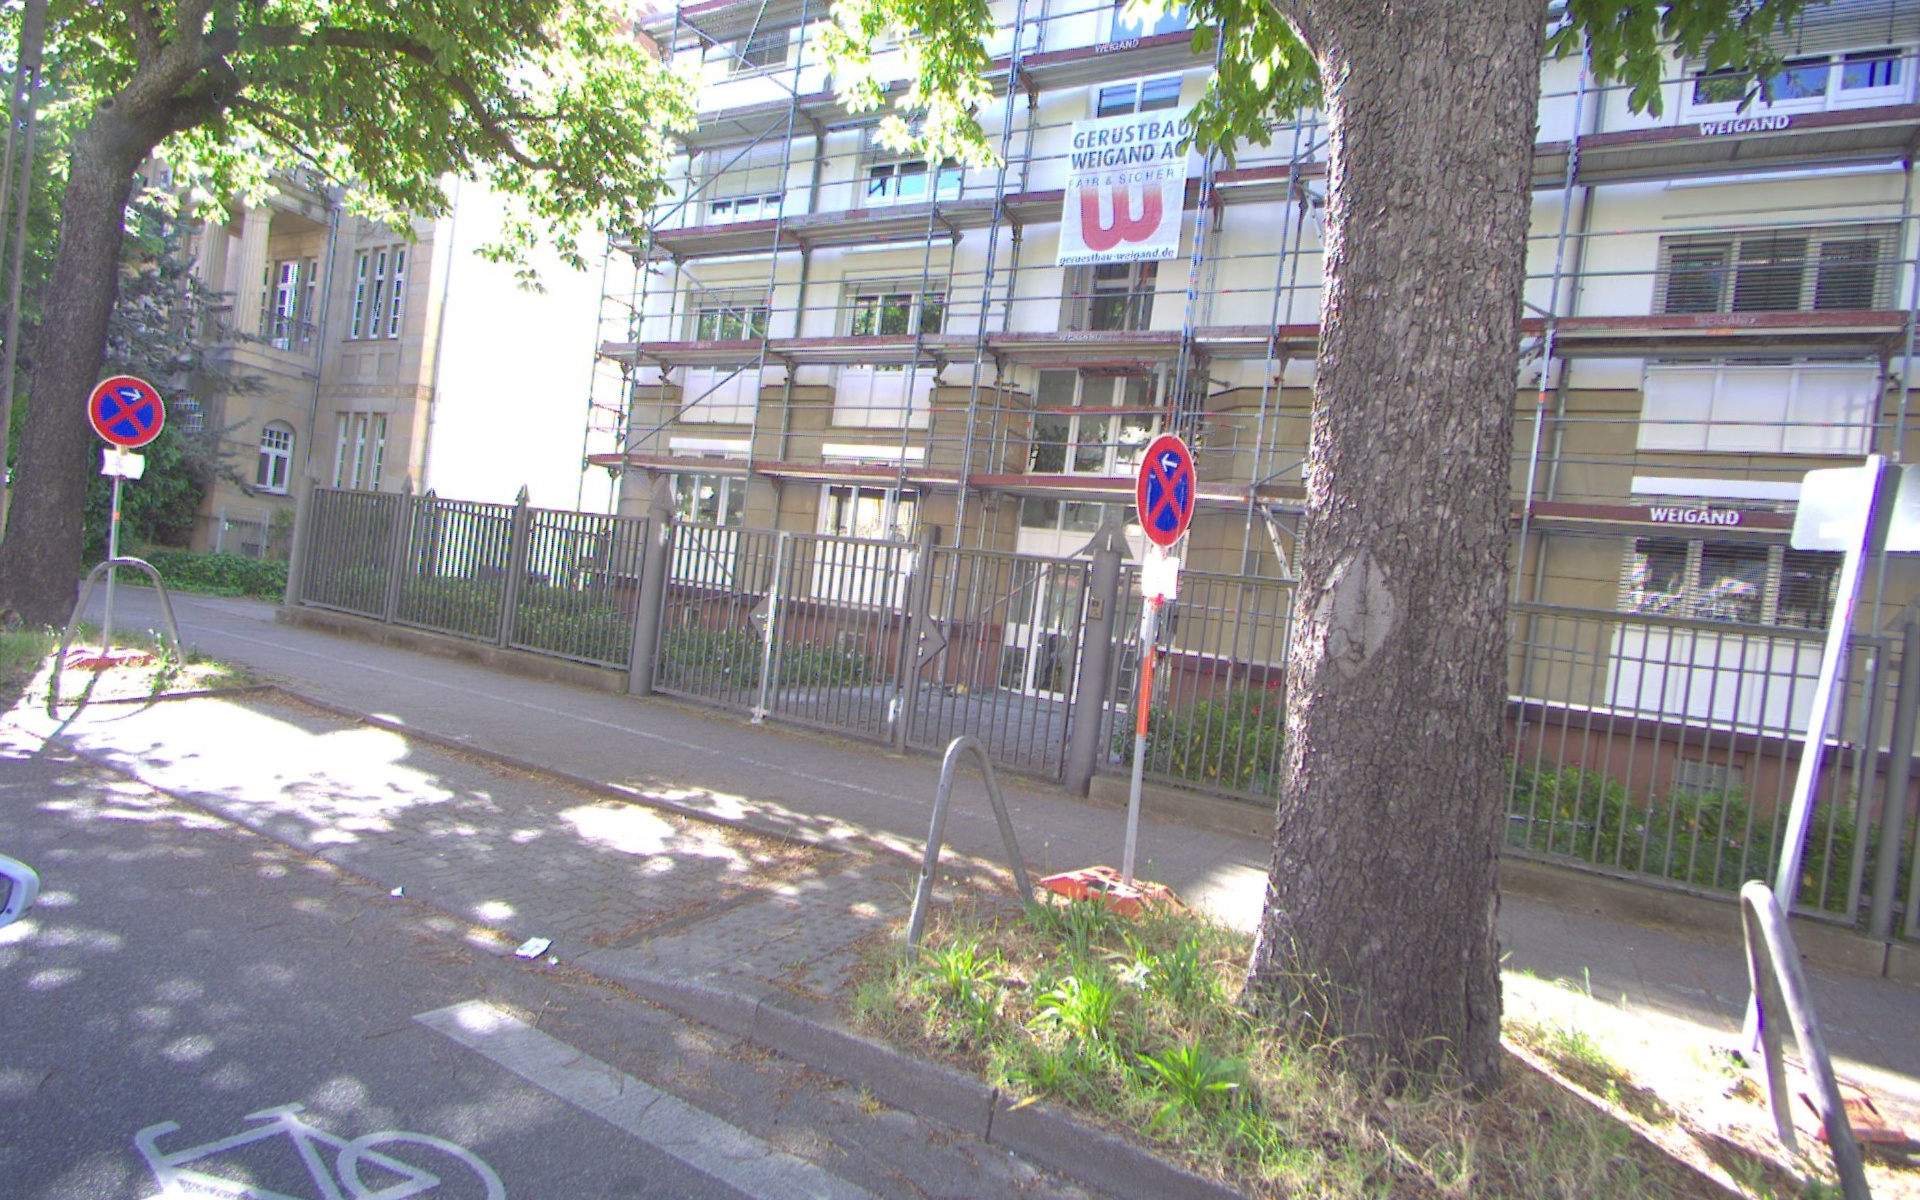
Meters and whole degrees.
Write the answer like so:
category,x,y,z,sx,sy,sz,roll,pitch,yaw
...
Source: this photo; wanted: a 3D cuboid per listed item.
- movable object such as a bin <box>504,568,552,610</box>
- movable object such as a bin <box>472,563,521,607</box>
category,x,y,z,sx,sy,sz,roll,pitch,yaw
movable object such as a bin,-11.222,-0.279,26.156,0.637,0.966,0.835,6,-2,30
movable object such as a bin,-11.719,-0.373,25.445,0.637,0.966,0.835,6,-2,30
